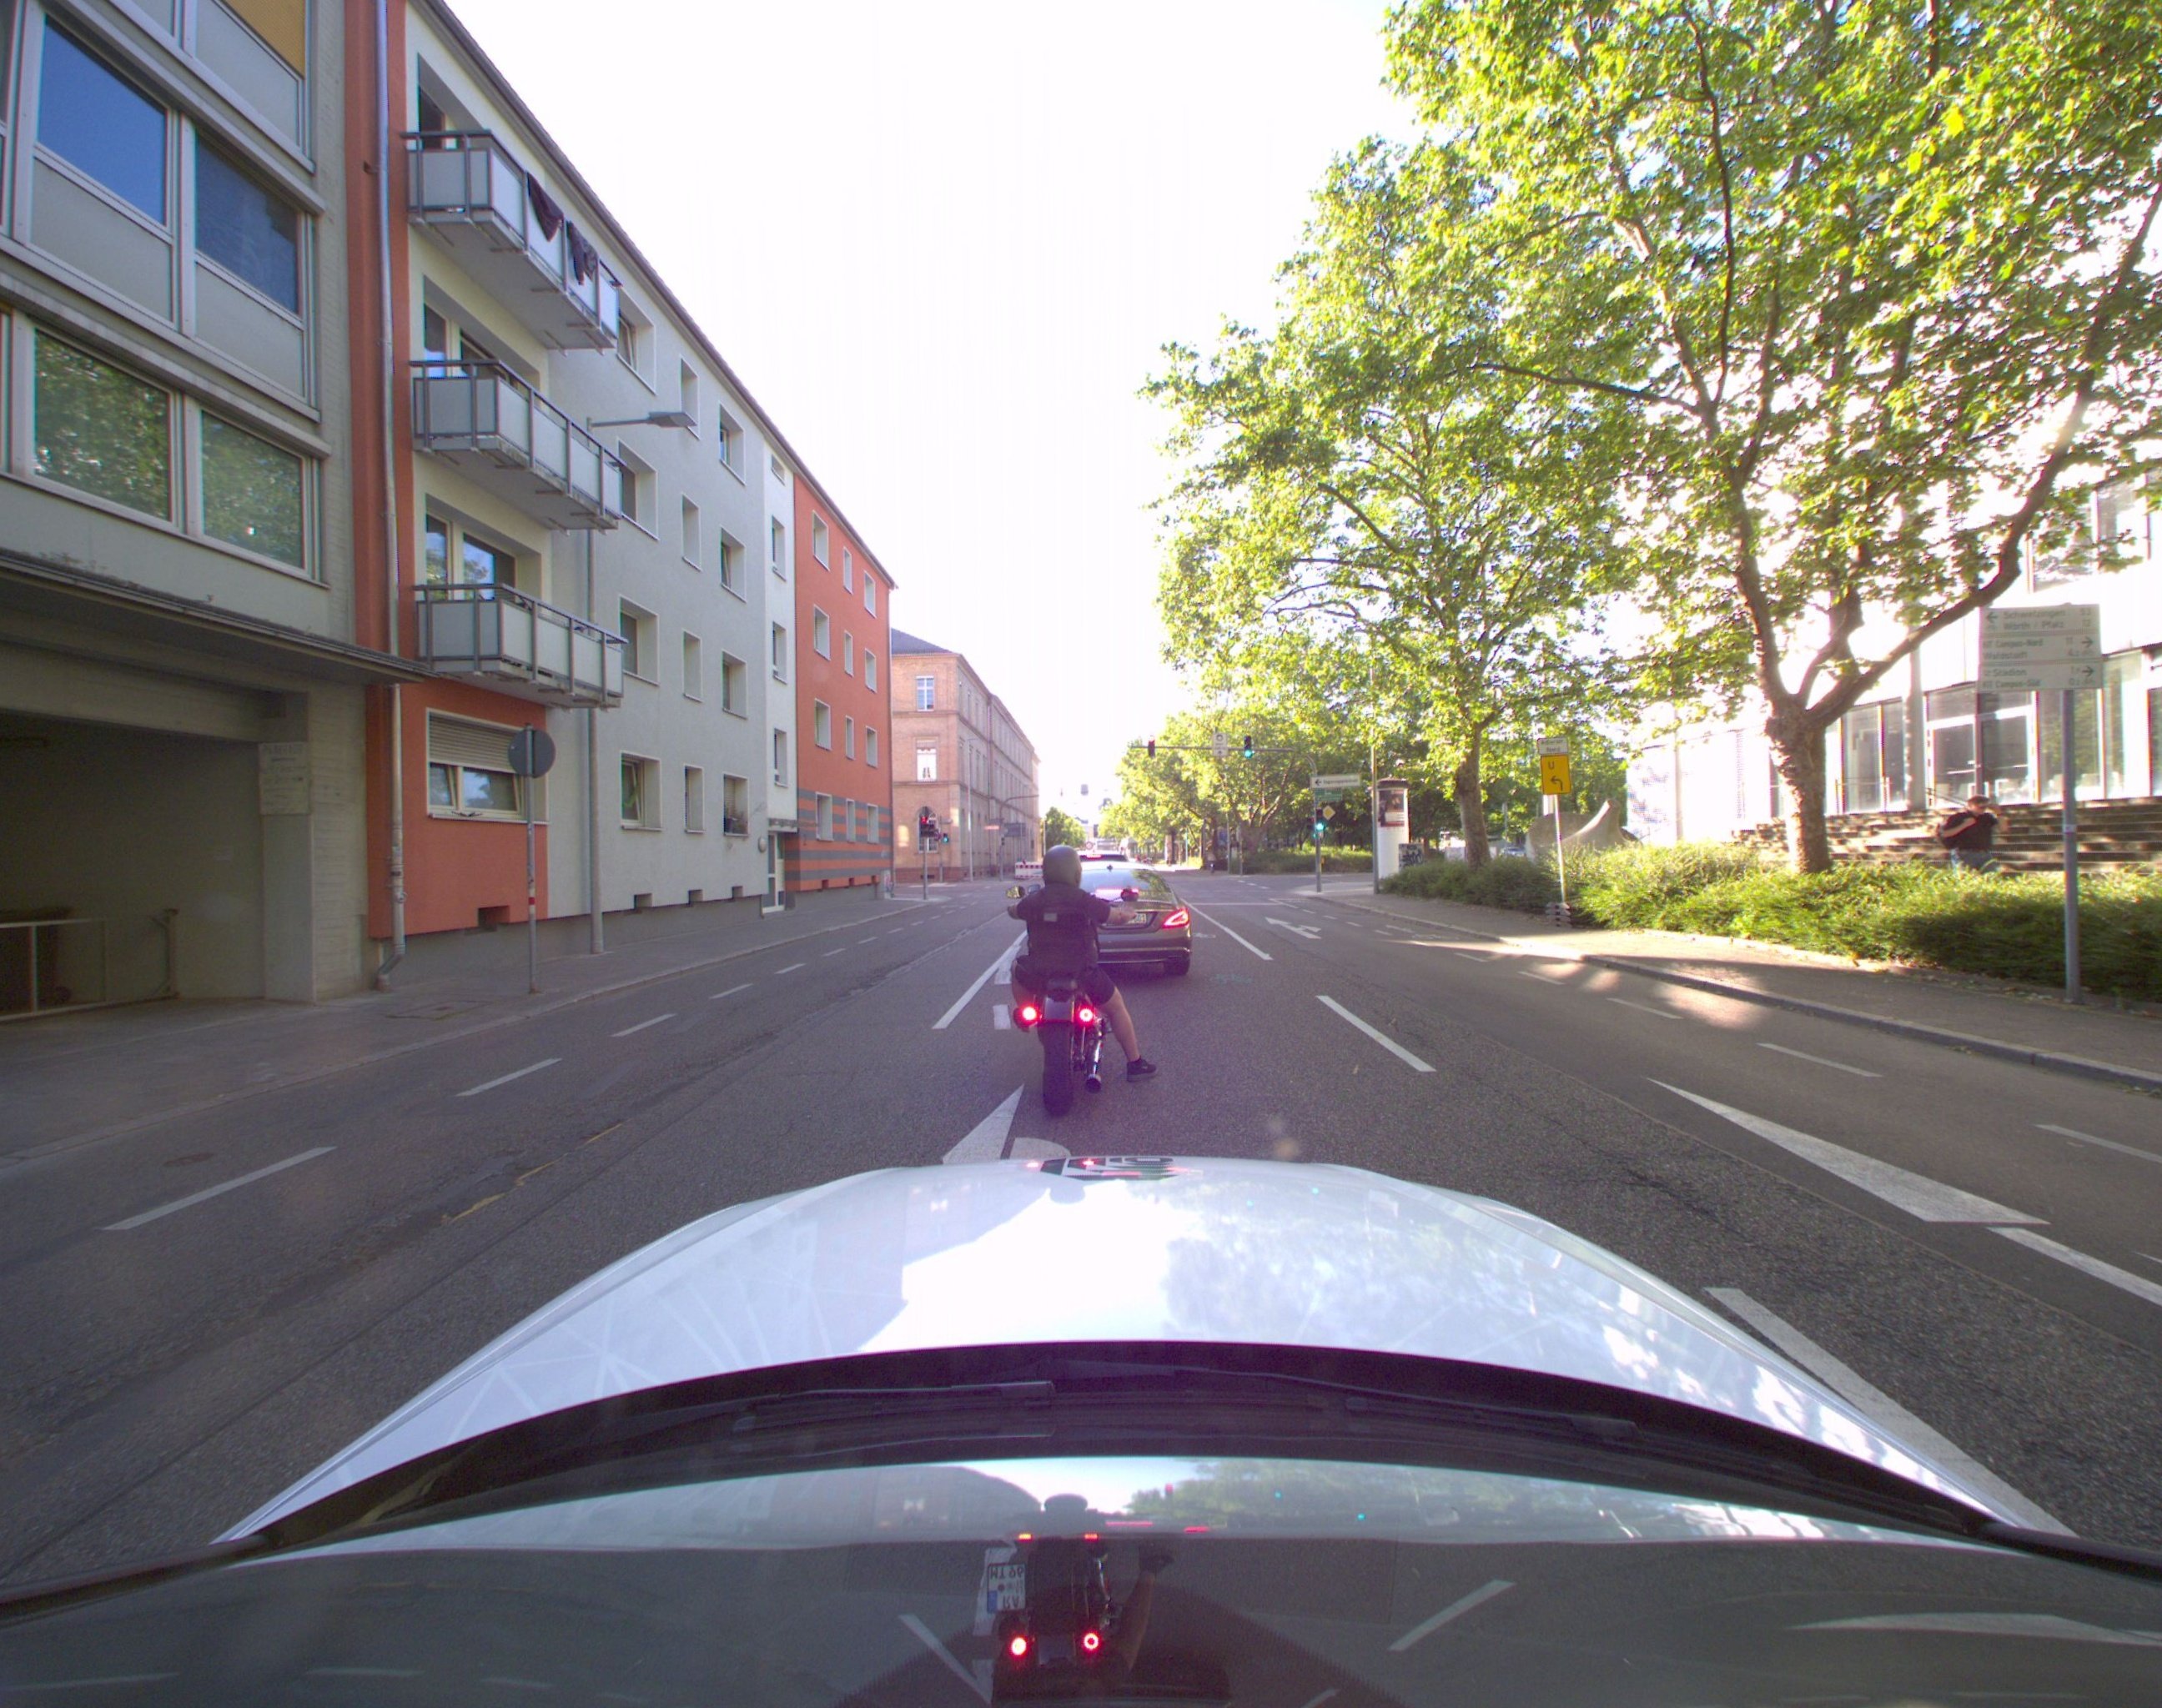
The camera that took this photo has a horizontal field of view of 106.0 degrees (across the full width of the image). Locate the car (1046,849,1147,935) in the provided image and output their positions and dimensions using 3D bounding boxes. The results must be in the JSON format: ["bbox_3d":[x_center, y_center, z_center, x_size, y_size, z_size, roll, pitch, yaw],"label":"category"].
[{"bbox_3d":[0.265,0.699,16.885,1.808,1.536,3.847,-1,0,-1],"label":"car"}]

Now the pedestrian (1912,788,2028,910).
[{"bbox_3d":[13.498,-0.075,12.393,0.781,1.781,0.862,-1,0,0],"label":"pedestrian"}]

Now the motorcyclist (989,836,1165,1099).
[{"bbox_3d":[-0.010,0.691,5.380,1.057,1.582,0.908,0,-1,1],"label":"motorcyclist"}]

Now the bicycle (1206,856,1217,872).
[{"bbox_3d":[9.676,0.743,60.494,0.712,1.172,2.179,0,-1,6],"label":"bicycle"}]

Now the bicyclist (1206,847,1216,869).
[{"bbox_3d":[9.669,0.317,60.556,0.713,1.582,0.937,0,-1,5],"label":"bicyclist"}]

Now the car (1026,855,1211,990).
[{"bbox_3d":[0.285,0.762,11.201,1.900,1.441,4.279,-1,0,-6],"label":"car"}]

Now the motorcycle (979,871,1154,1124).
[{"bbox_3d":[-0.045,0.816,5.650,0.958,1.357,2.321,0,-1,2],"label":"motorcycle"}]

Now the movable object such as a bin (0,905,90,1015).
[{"bbox_3d":[-11.329,1.101,8.637,0.736,1.074,0.716,0,-1,2],"label":"movable object such as a bin"}]
